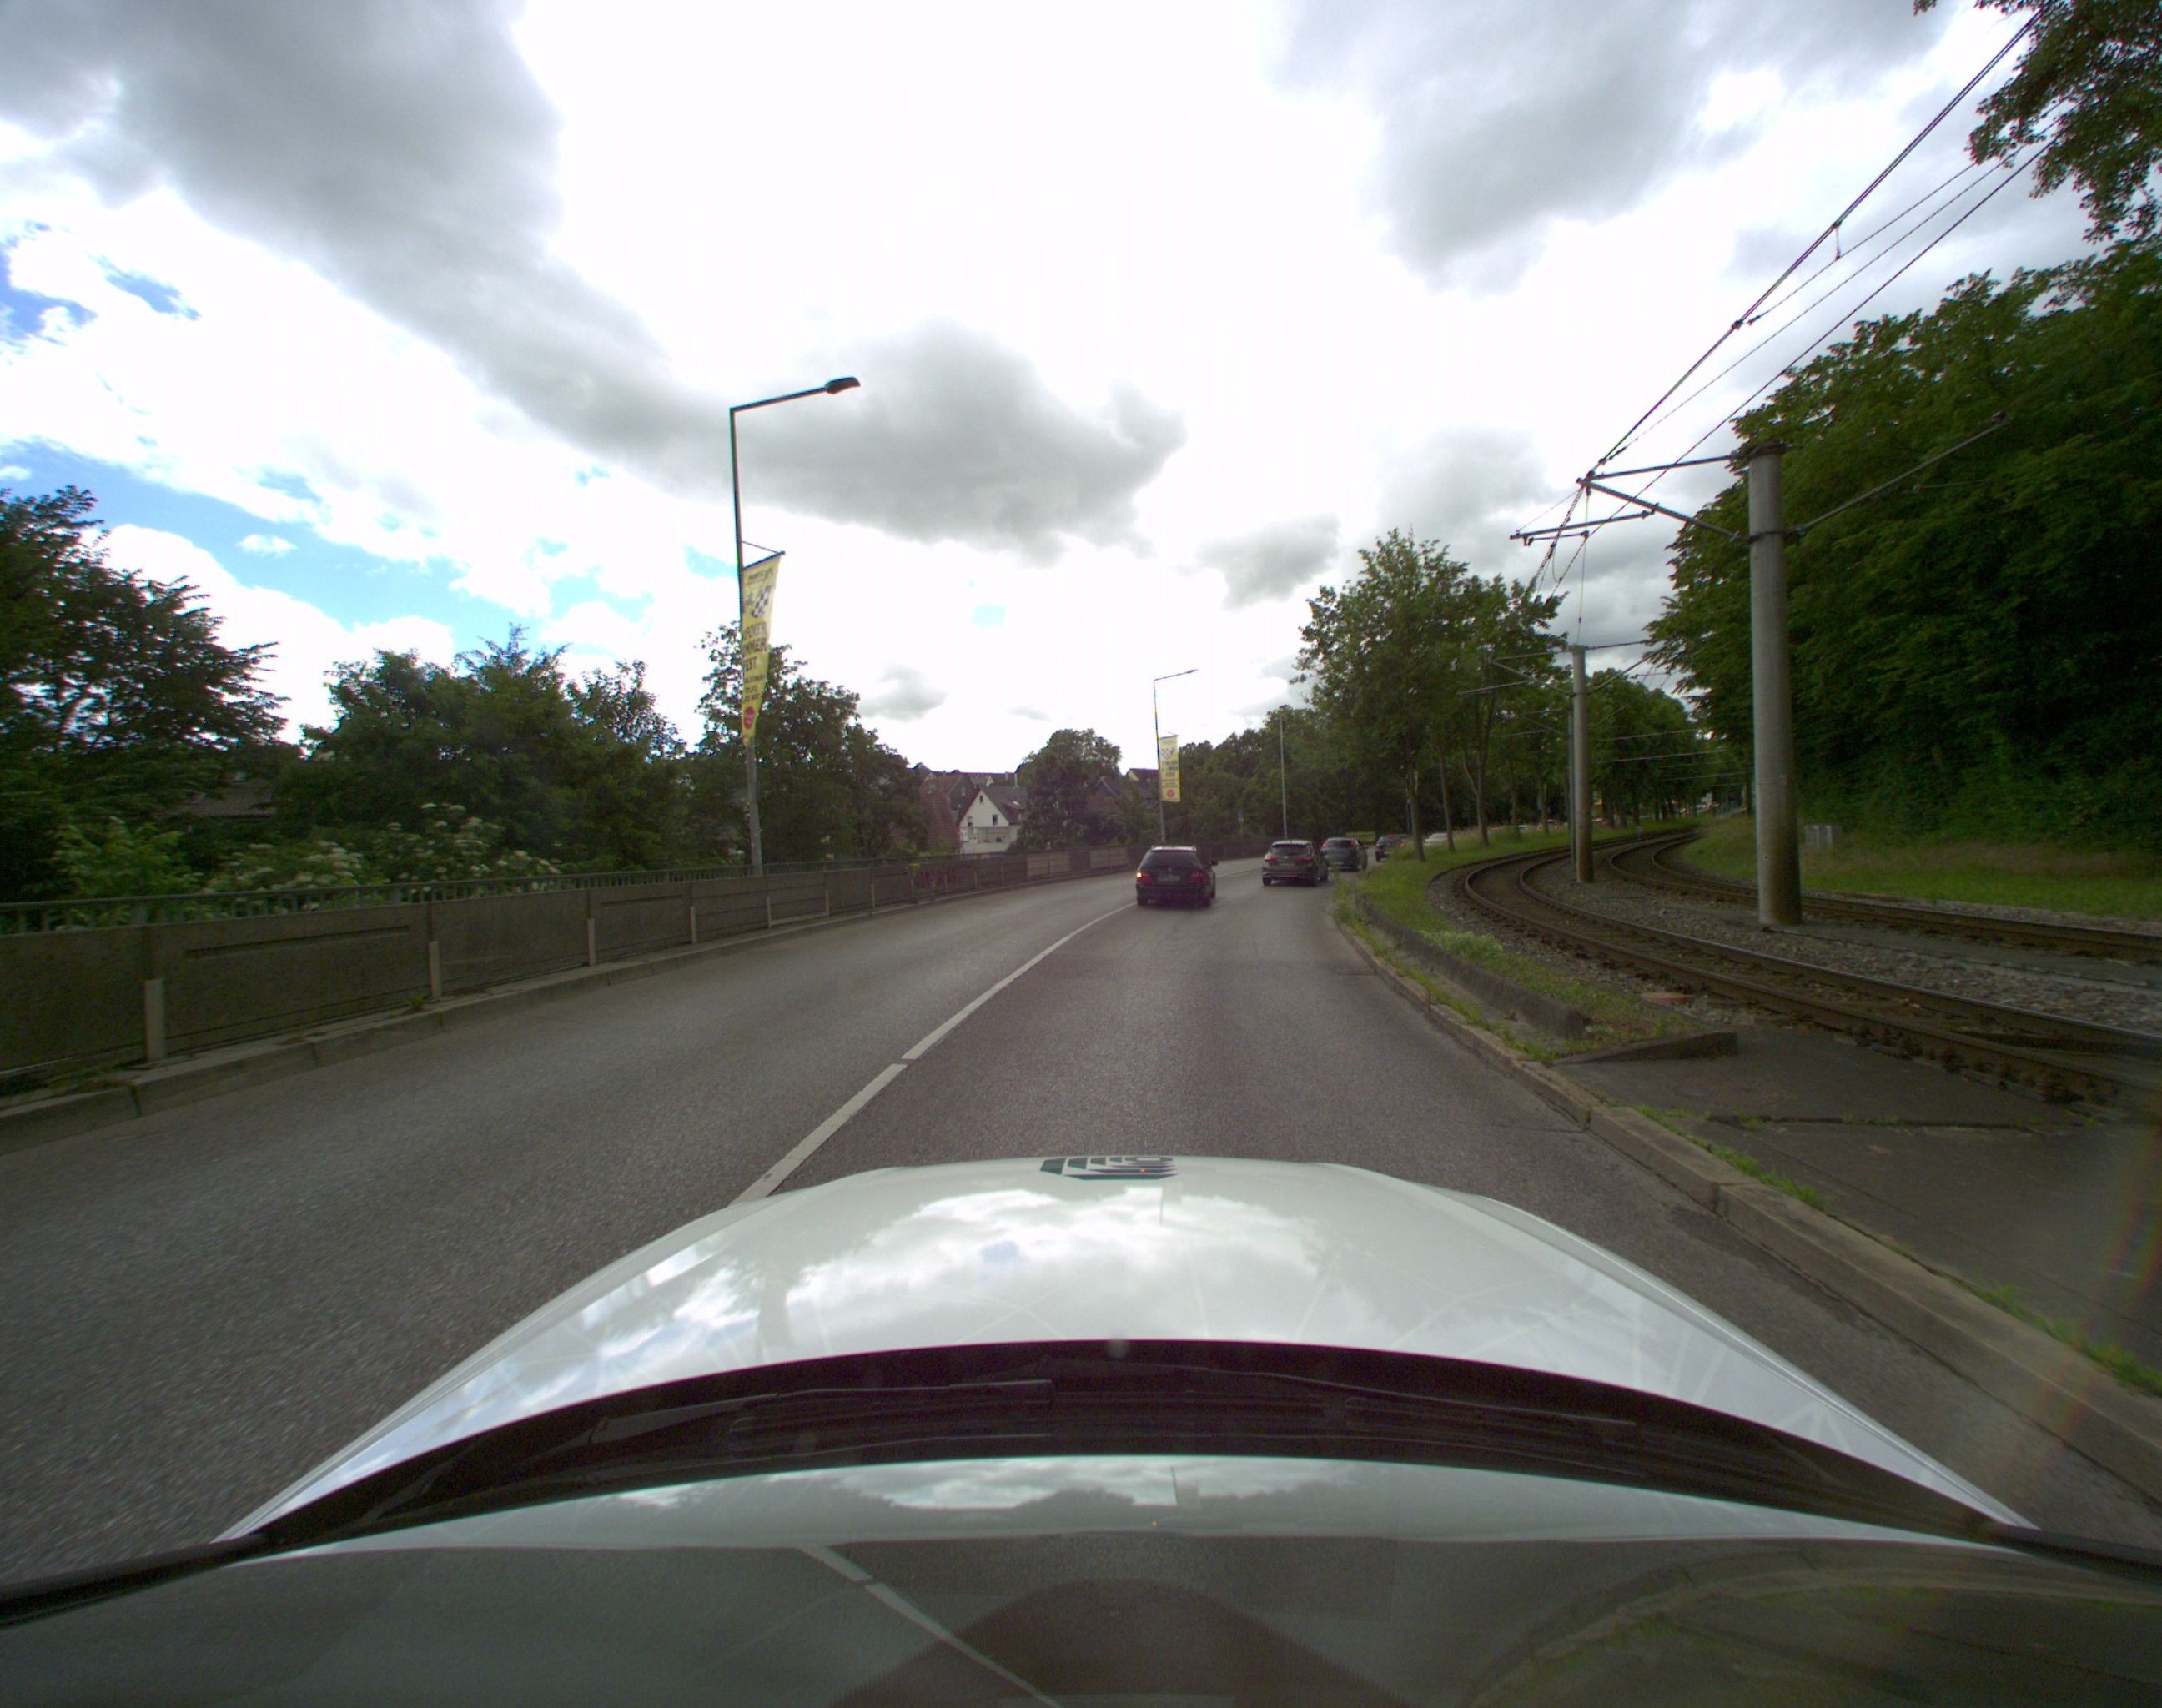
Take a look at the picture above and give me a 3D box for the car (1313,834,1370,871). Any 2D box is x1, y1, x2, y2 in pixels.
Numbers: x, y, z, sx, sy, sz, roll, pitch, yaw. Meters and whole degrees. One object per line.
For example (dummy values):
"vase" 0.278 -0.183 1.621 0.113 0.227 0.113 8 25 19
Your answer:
"car" 11.884 -0.097 36.985 1.875 1.574 4.024 -1 1 26

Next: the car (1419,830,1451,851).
"car" 23.972 -0.936 55.050 1.486 1.364 3.610 -2 0 31

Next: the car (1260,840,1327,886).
"car" 7.502 0.251 28.524 1.759 1.494 4.022 0 1 22

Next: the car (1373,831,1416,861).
"car" 17.207 -0.452 44.587 1.563 1.538 4.025 -2 0 30

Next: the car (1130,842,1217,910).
"car" 2.495 0.464 21.026 1.839 1.486 4.436 1 2 12

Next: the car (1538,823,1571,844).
"car" 44.849 -1.922 77.139 1.910 1.859 4.025 -2 0 42
